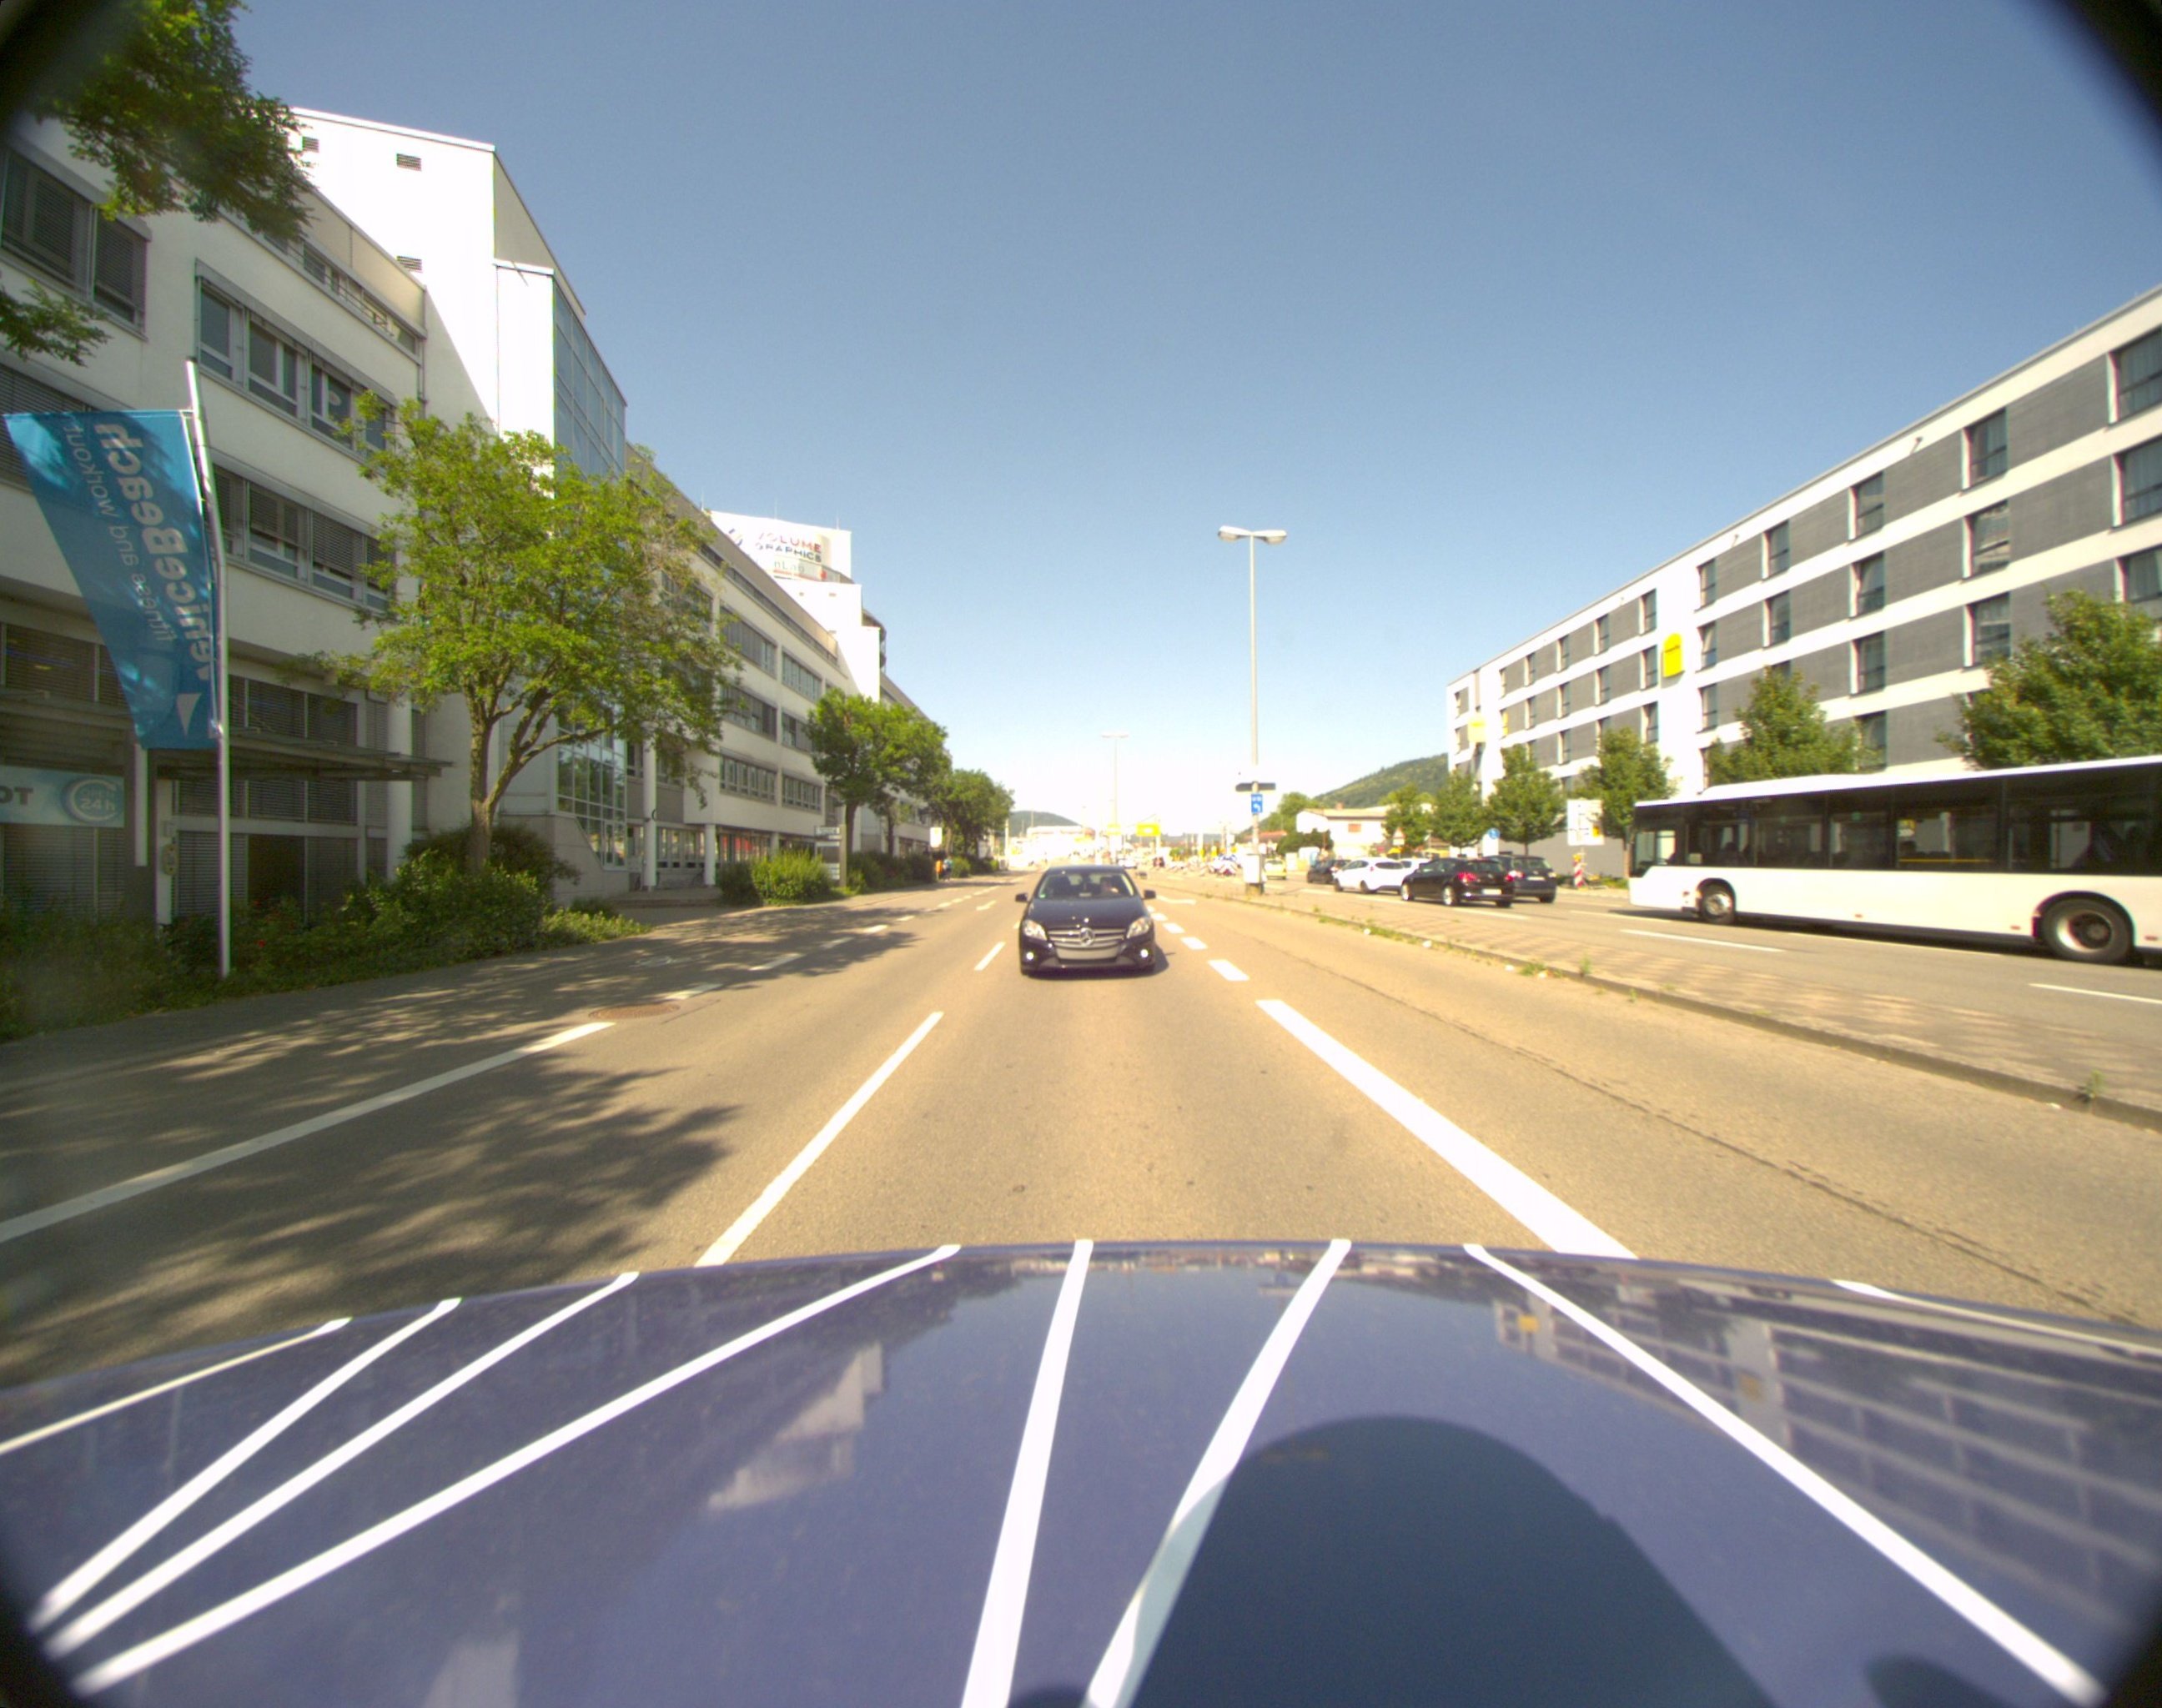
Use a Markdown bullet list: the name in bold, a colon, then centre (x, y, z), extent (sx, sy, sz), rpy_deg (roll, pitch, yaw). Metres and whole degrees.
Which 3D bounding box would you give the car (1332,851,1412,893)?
- **car**: centre (11.536, 0.657, 30.392), extent (1.763, 1.443, 4.000), rpy_deg (-2, 1, 2)

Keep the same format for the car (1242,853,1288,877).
- **car**: centre (12.710, 0.720, 52.727), extent (1.998, 1.514, 4.891), rpy_deg (-1, 0, 1)

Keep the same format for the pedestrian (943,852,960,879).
- **pedestrian**: centre (-9.155, 0.782, 53.898), extent (0.942, 1.875, 1.289), rpy_deg (2, 1, 0)

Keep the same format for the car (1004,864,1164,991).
- **car**: centre (0.058, 0.913, 11.474), extent (1.905, 1.431, 4.693), rpy_deg (-1, 0, 1)

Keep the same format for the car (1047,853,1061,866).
- **car**: centre (-4.661, 0.903, 132.104), extent (1.998, 2.002, 4.000), rpy_deg (-2, 1, 2)

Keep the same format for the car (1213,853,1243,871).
- **car**: centre (14.361, 0.730, 74.460), extent (1.998, 1.702, 4.891), rpy_deg (-1, 0, 1)

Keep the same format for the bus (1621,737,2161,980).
- **bus**: centre (14.949, 0.067, 13.038), extent (2.745, 3.060, 11.974), rpy_deg (1, 0, 0)

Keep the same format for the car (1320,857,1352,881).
- **car**: centre (14.323, 0.825, 42.770), extent (1.058, 1.200, 2.220), rpy_deg (-2, 1, 2)

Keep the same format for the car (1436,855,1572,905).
- **car**: centre (14.329, 0.822, 26.150), extent (1.998, 1.514, 4.891), rpy_deg (-1, 0, 1)

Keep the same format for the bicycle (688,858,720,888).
- **bicycle**: centre (-17.713, 0.882, 35.730), extent (0.506, 1.346, 1.884), rpy_deg (-1, 0, 1)

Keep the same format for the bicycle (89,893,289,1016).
- **bicycle**: centre (-11.251, 1.209, 9.693), extent (0.506, 1.321, 1.883), rpy_deg (0, 0, -8)

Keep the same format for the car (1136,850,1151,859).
- **car**: centre (11.580, 0.110, 141.767), extent (2.000, 1.725, 3.997), rpy_deg (-1, 0, -7)

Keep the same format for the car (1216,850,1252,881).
- **car**: centre (10.792, 0.800, 53.737), extent (1.679, 2.002, 4.164), rpy_deg (-2, 1, 1)

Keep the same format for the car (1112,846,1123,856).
- **car**: centre (7.795, -0.627, 162.563), extent (1.998, 2.002, 3.999), rpy_deg (-2, 1, 1)

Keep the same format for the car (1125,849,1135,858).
- **car**: centre (10.947, -0.122, 171.333), extent (1.998, 2.002, 4.000), rpy_deg (-1, 0, 1)

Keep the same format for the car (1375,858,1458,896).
- **car**: centre (14.430, 0.943, 32.953), extent (1.858, 1.530, 3.978), rpy_deg (1, 0, 0)

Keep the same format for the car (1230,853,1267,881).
- **car**: centre (12.988, 0.977, 59.178), extent (1.998, 2.002, 3.999), rpy_deg (-2, 1, 1)

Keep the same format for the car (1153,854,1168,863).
- **car**: centre (12.791, 0.695, 122.996), extent (1.816, 1.328, 3.937), rpy_deg (-1, 0, -3)

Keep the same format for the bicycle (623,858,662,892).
- **bicycle**: centre (-18.054, 0.835, 31.333), extent (0.506, 1.346, 1.884), rpy_deg (-1, 0, 1)

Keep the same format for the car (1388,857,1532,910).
- **car**: centre (11.435, 0.817, 23.397), extent (1.998, 1.424, 4.891), rpy_deg (-1, 0, 0)

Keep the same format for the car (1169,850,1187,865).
- **car**: centre (13.525, 0.500, 106.492), extent (1.999, 2.002, 3.999), rpy_deg (0, 0, -1)
